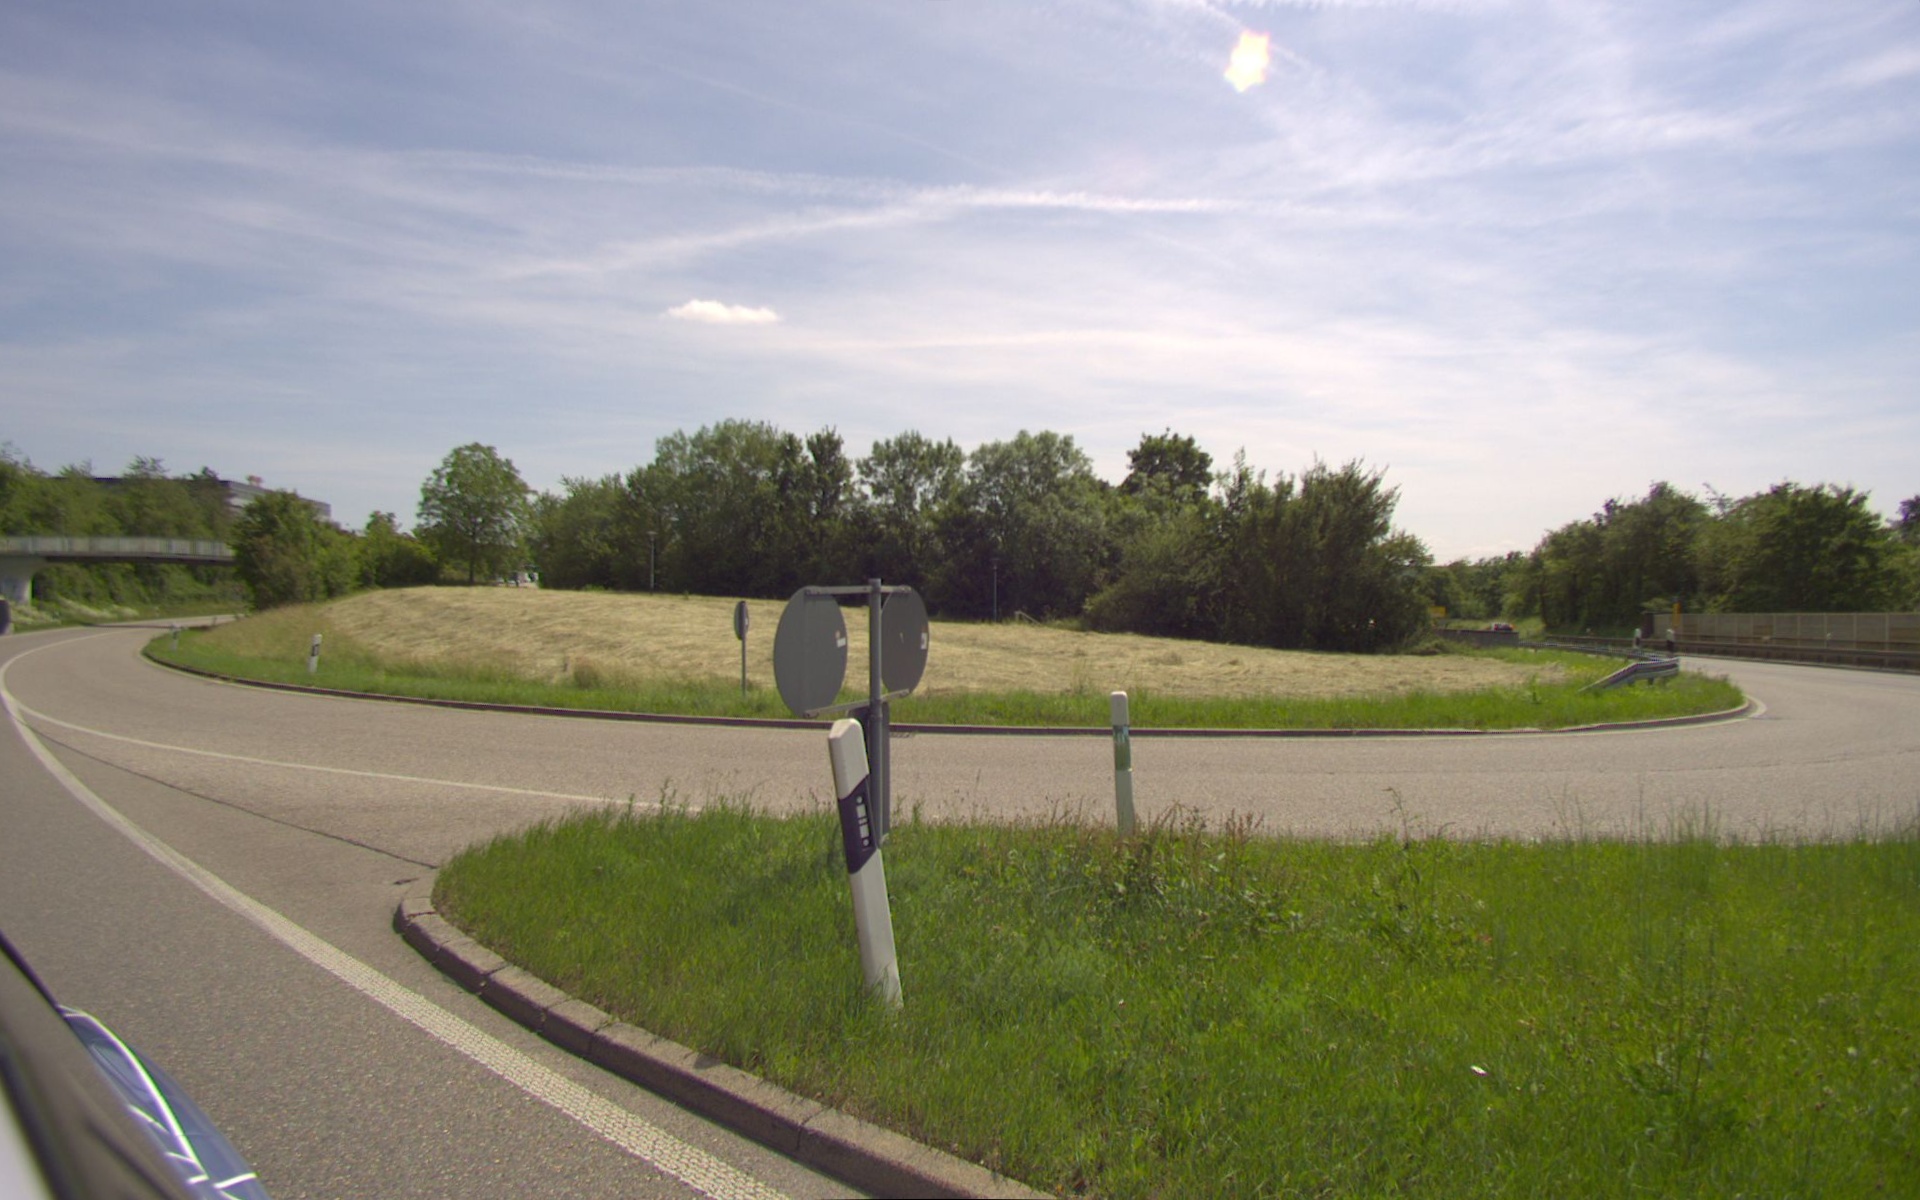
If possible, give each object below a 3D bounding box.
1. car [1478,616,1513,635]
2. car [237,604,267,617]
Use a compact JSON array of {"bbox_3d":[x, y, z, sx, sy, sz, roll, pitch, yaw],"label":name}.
[{"bbox_3d":[45.066,2.131,85.230,1.739,1.550,4.087,-1,-1,15],"label":"car"},{"bbox_3d":[-80.180,1.193,114.653,1.926,1.433,3.950,1,-2,-24],"label":"car"}]
